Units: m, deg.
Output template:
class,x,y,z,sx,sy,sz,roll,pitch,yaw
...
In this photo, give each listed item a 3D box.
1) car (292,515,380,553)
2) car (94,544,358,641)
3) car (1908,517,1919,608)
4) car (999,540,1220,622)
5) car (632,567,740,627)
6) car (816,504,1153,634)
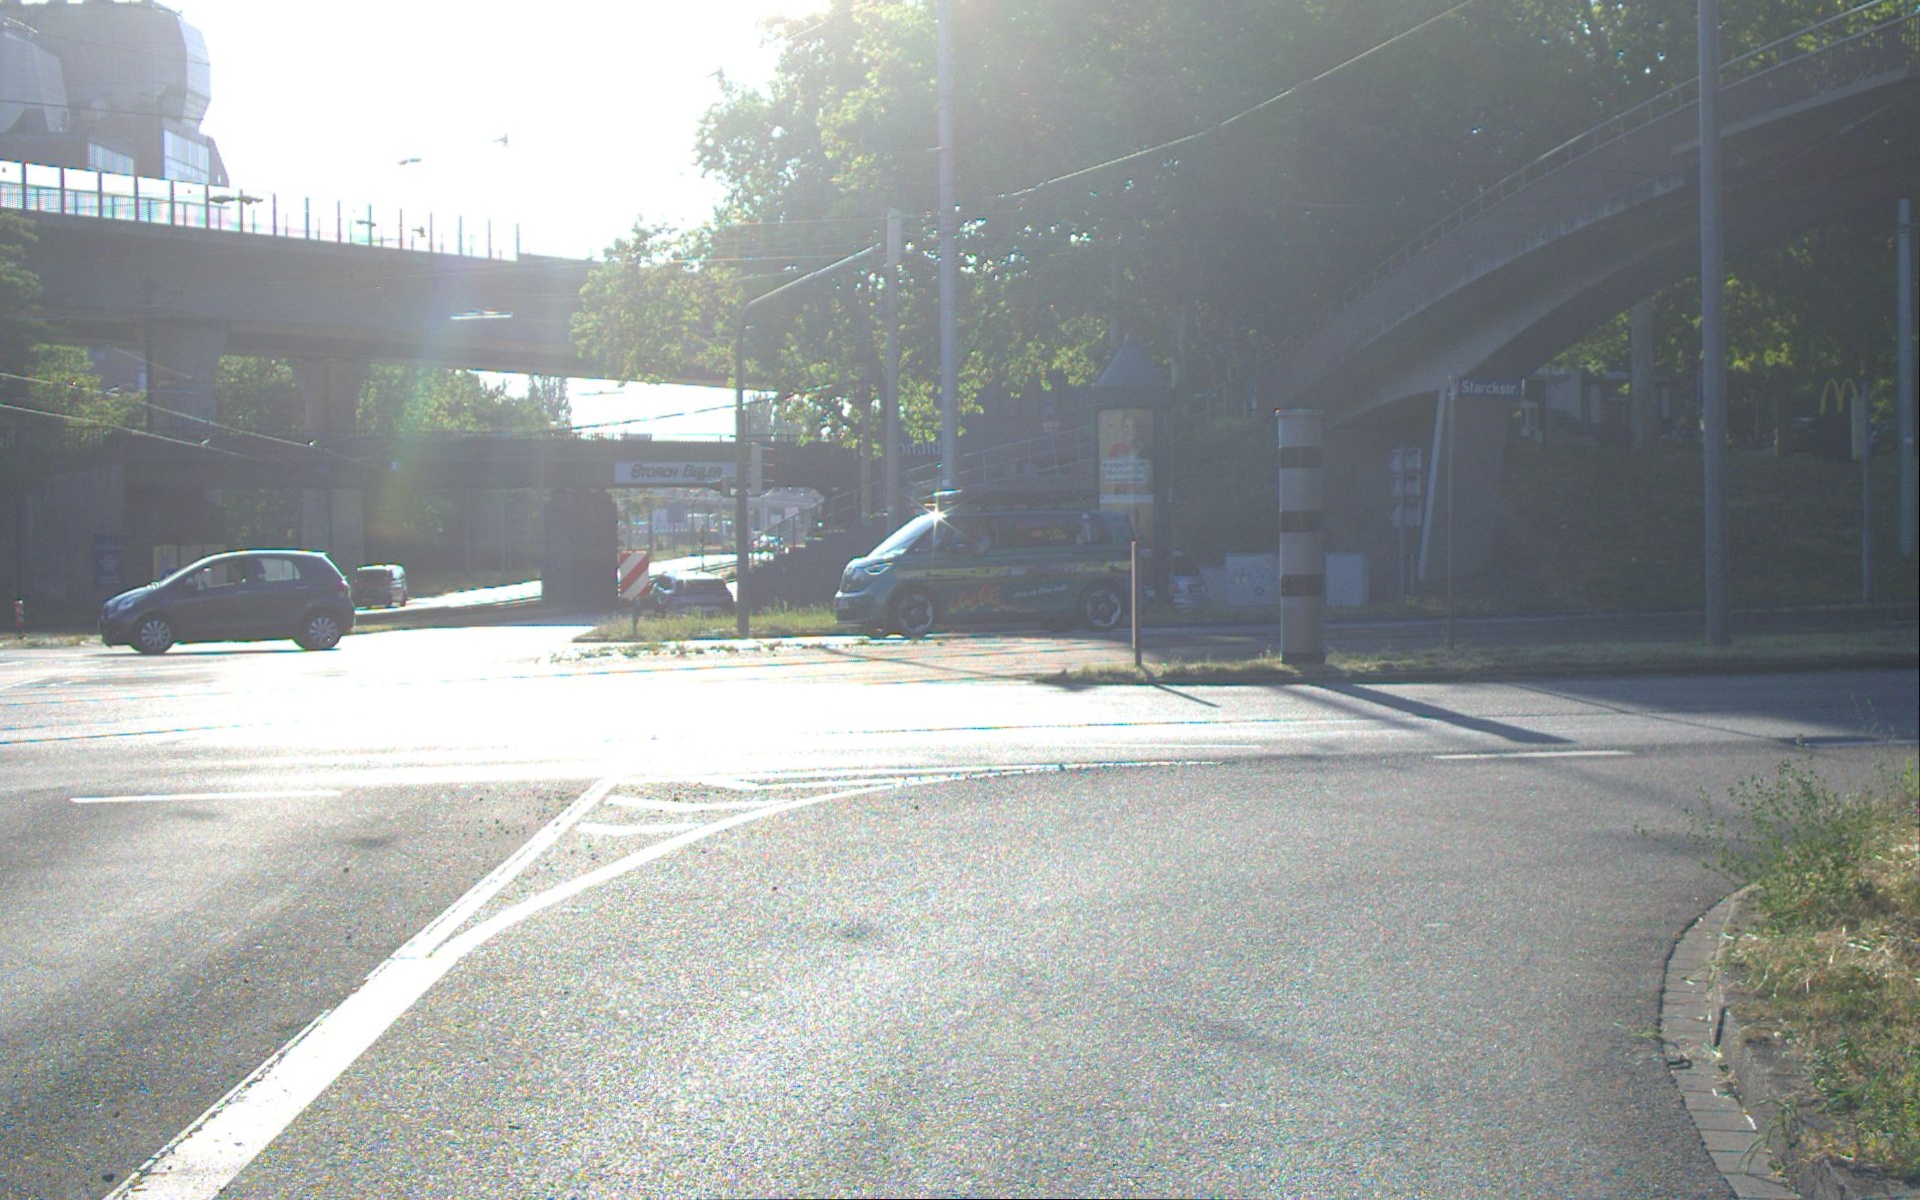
class,x,y,z,sx,sy,sz,roll,pitch,yaw
car,-30.023,-3.165,165.474,1.997,1.765,3.993,1,1,32
car,-11.054,-0.122,51.740,3.720,1.417,1.697,0,1,-19
car,18.437,-0.646,58.727,3.921,1.553,2.001,0,1,-22
car,3.073,-0.400,70.736,4.210,1.647,1.715,0,1,22
car,-6.720,-0.087,83.978,1.691,1.417,4.153,0,1,-18
car,0.361,-0.474,51.942,4.688,1.899,2.001,0,1,-19
